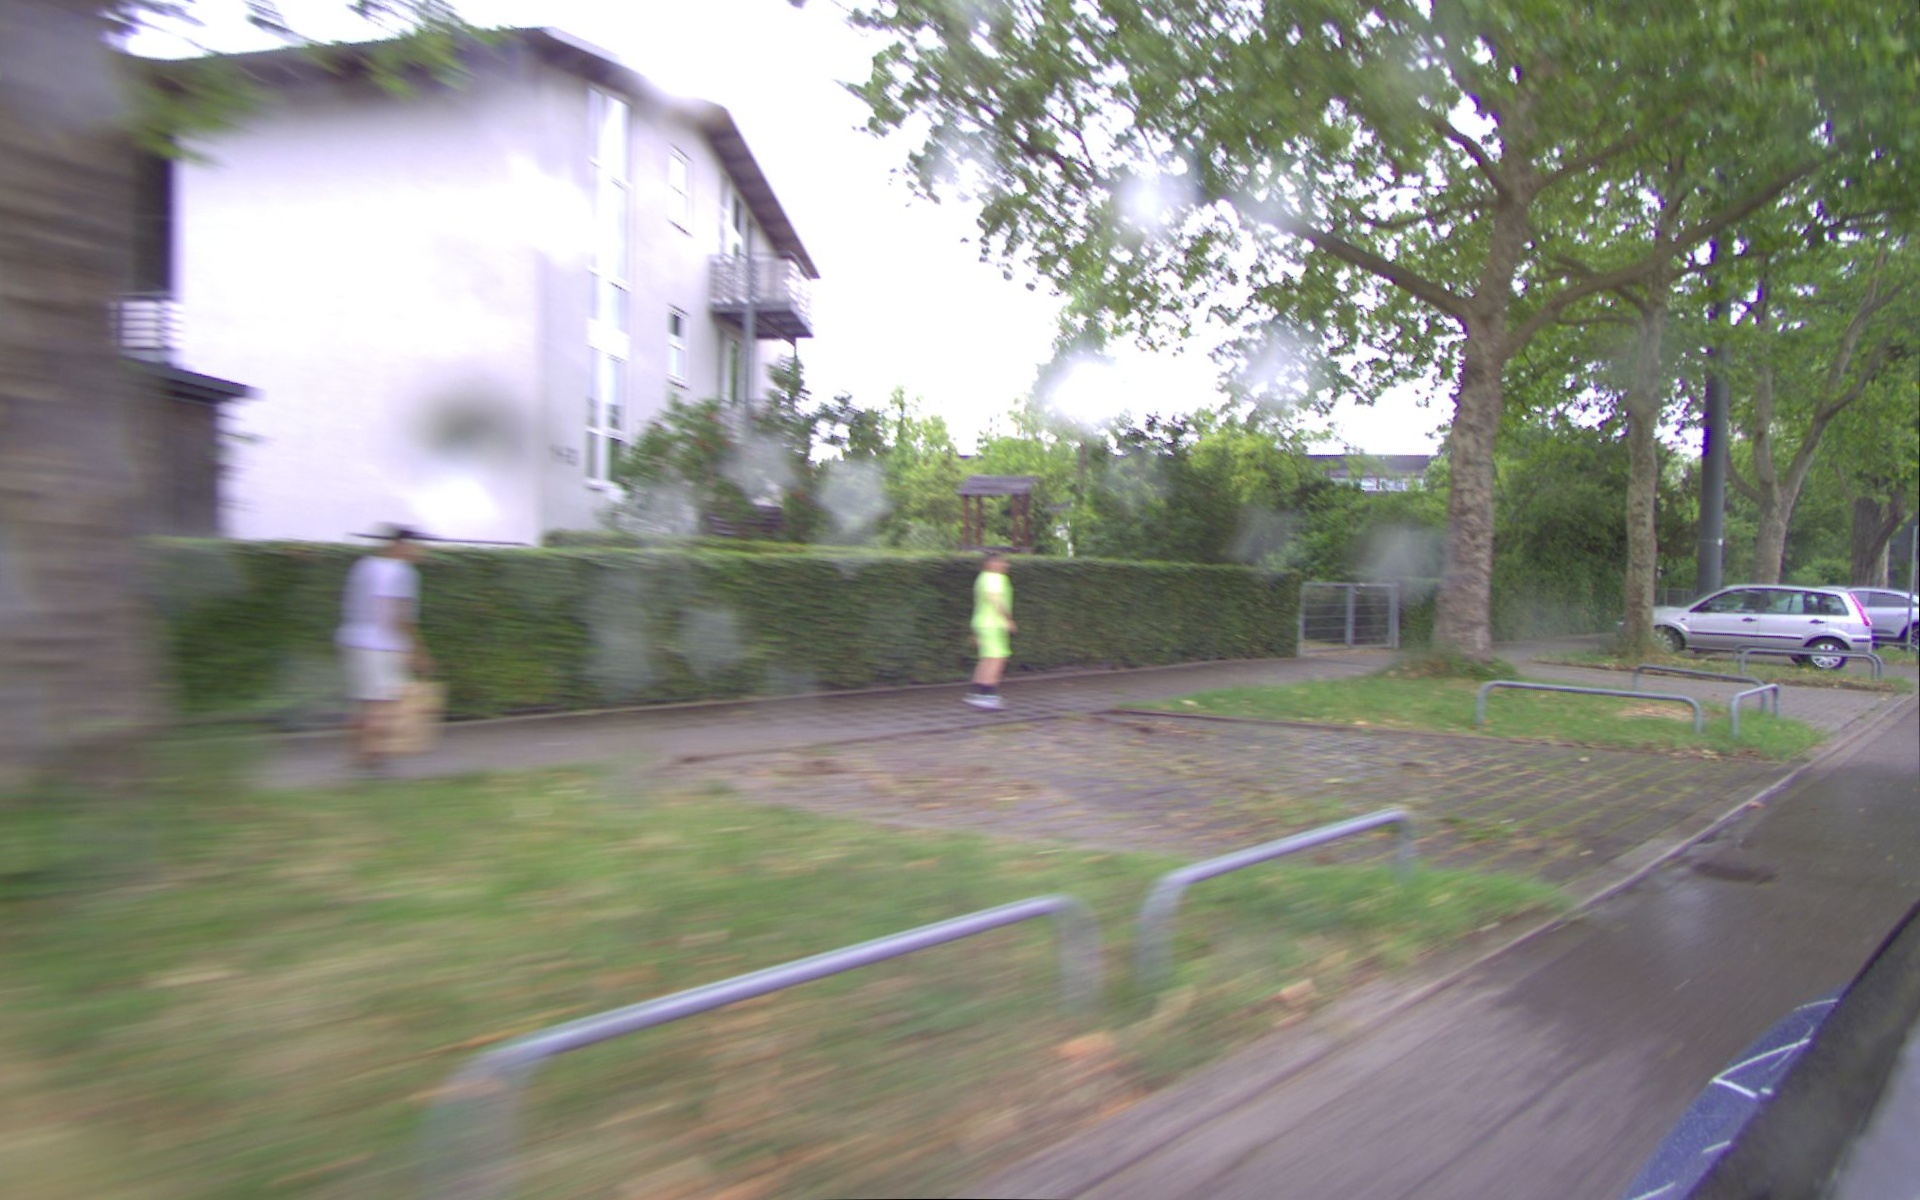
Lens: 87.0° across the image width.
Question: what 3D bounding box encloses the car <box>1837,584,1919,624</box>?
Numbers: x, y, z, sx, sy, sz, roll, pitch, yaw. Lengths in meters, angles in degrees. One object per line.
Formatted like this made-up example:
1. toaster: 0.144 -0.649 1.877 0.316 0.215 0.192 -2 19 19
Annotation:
1. car: 41.098 0.246 43.600 4.499 1.563 1.878 5 2 16

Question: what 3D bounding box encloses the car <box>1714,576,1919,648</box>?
1. car: 23.143 0.286 26.707 4.701 1.688 1.988 2 2 12

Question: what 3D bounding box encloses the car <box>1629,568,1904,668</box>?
1. car: 15.285 0.276 19.469 3.837 1.585 1.602 4 3 31

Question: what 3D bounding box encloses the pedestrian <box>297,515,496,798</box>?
1. pedestrian: -3.418 0.286 6.137 0.834 1.557 0.846 4 3 45

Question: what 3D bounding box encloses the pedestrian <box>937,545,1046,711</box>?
1. pedestrian: 0.320 0.249 10.056 0.557 1.557 0.951 3 2 44

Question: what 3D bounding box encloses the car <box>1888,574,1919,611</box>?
1. car: 55.340 -0.305 56.339 4.955 2.038 1.992 3 2 13
